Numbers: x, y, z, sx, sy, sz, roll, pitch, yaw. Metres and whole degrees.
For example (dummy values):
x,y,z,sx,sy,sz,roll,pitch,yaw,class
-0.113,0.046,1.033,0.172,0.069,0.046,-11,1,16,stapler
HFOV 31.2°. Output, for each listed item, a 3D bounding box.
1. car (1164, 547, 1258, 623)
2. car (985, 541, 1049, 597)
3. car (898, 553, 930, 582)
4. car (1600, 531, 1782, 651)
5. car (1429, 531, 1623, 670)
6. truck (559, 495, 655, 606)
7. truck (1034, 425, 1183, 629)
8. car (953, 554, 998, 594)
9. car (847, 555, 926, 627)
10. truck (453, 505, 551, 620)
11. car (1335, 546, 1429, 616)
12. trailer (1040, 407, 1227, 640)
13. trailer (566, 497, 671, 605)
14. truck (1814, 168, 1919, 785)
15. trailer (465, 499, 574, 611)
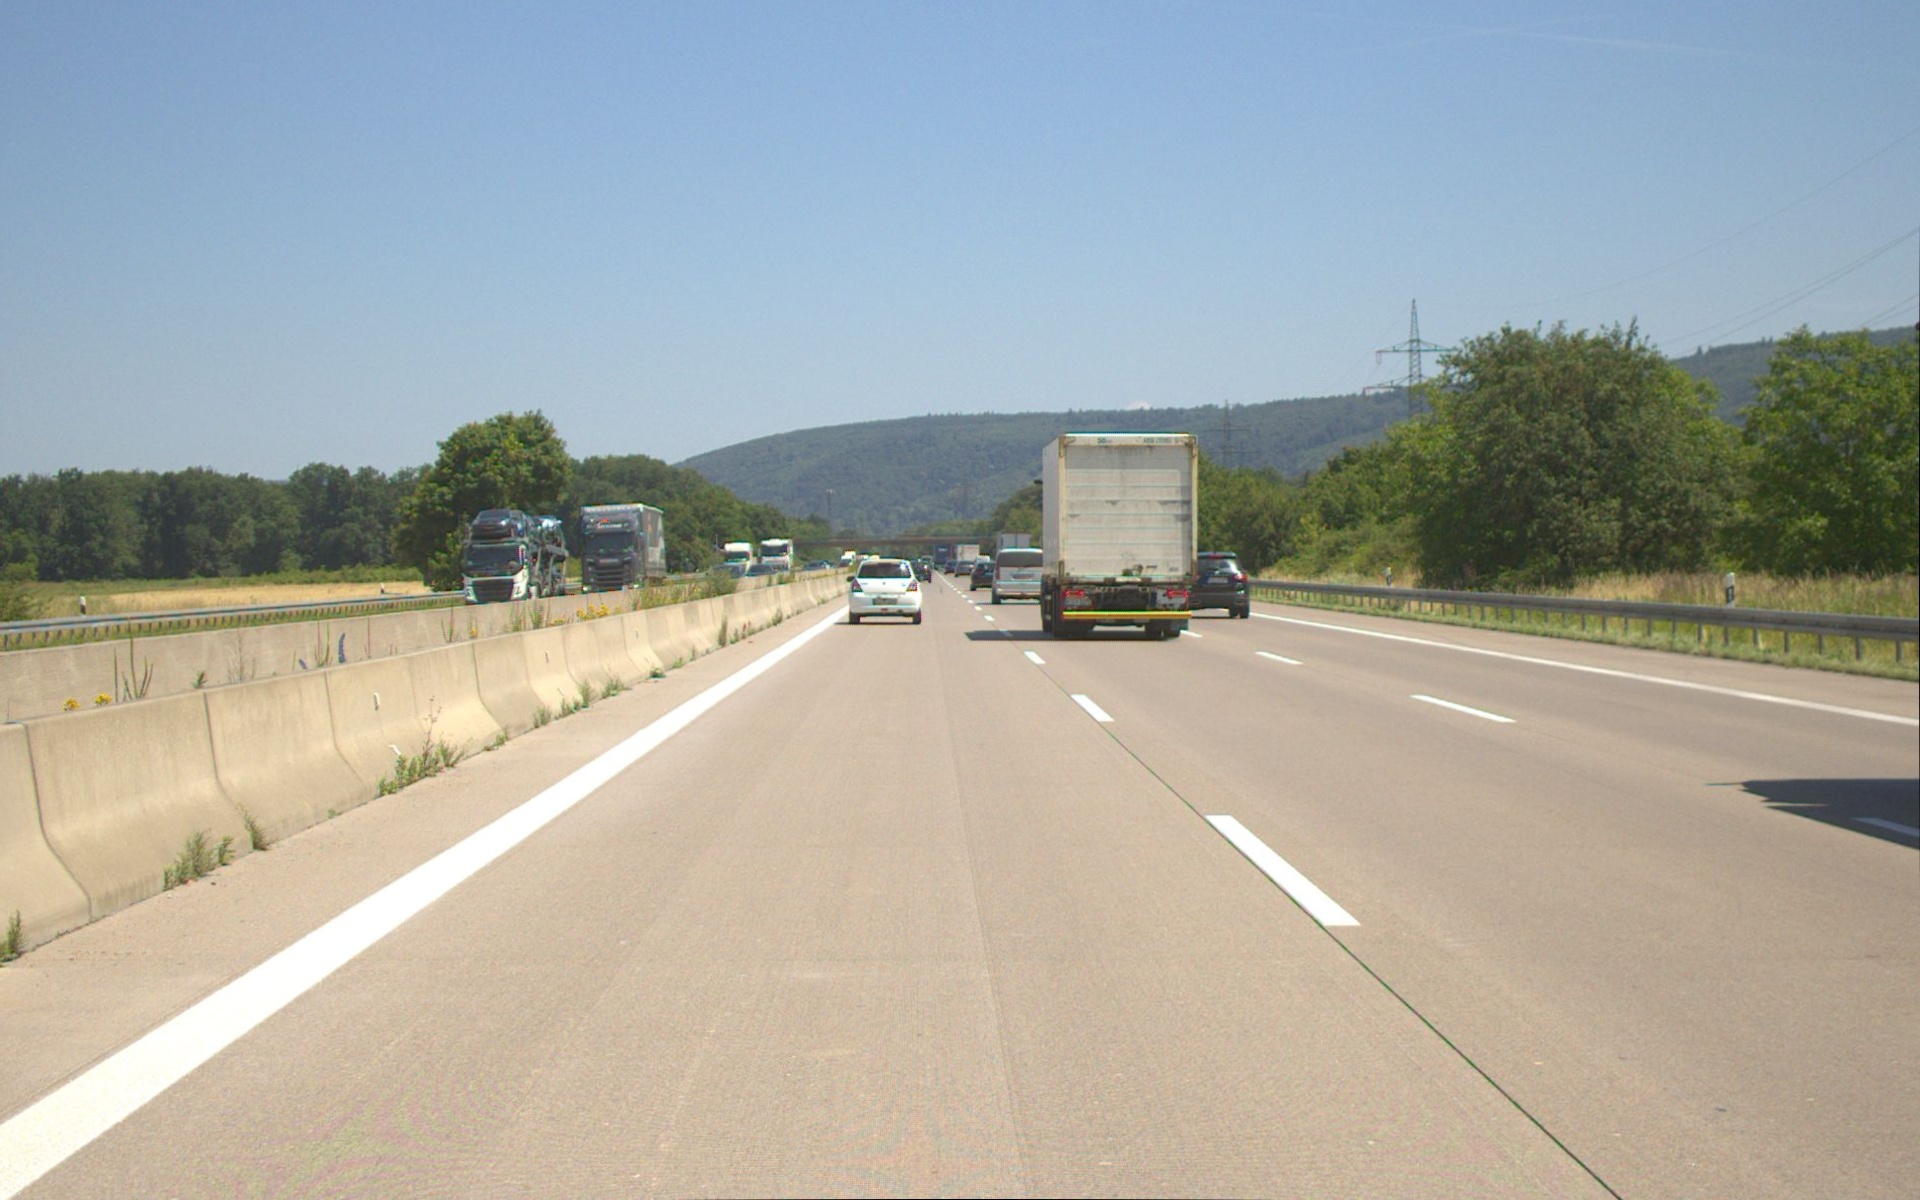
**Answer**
x,y,z,sx,sy,sz,roll,pitch,yaw,class
6.487,-0.409,89.295,1.993,1.842,4.000,2,1,-1,car
1.913,-1.053,116.671,1.993,1.842,4.000,1,1,-1,car
-3.031,-2.167,227.163,1.993,1.842,4.000,2,1,-1,car
12.042,-0.164,56.884,1.993,1.842,4.000,2,1,-1,car
8.143,-0.016,49.790,1.993,1.842,4.000,2,1,-1,car
-14.744,-2.050,143.896,3.267,4.460,7.190,-1,1,-1,truck
2.905,-1.429,68.408,2.580,3.864,4.984,1,1,-1,truck
0.730,-1.299,167.644,1.993,1.842,4.000,2,1,-2,car
-1.756,-0.230,81.048,1.819,1.656,4.000,0,1,-2,car
-18.836,-1.560,141.654,3.231,4.591,6.251,1,1,-1,truck
11.845,-0.550,96.692,1.993,1.842,4.000,2,1,-1,car
3.028,-1.340,62.898,2.580,3.864,10.374,1,1,-1,trailer
-14.896,-2.131,150.933,3.267,4.460,14.452,-1,1,-1,trailer
7.486,-0.828,23.016,1.993,4.178,5.706,1,1,-1,truck
-18.919,-1.923,148.392,3.231,4.591,12.294,1,1,-1,trailer
